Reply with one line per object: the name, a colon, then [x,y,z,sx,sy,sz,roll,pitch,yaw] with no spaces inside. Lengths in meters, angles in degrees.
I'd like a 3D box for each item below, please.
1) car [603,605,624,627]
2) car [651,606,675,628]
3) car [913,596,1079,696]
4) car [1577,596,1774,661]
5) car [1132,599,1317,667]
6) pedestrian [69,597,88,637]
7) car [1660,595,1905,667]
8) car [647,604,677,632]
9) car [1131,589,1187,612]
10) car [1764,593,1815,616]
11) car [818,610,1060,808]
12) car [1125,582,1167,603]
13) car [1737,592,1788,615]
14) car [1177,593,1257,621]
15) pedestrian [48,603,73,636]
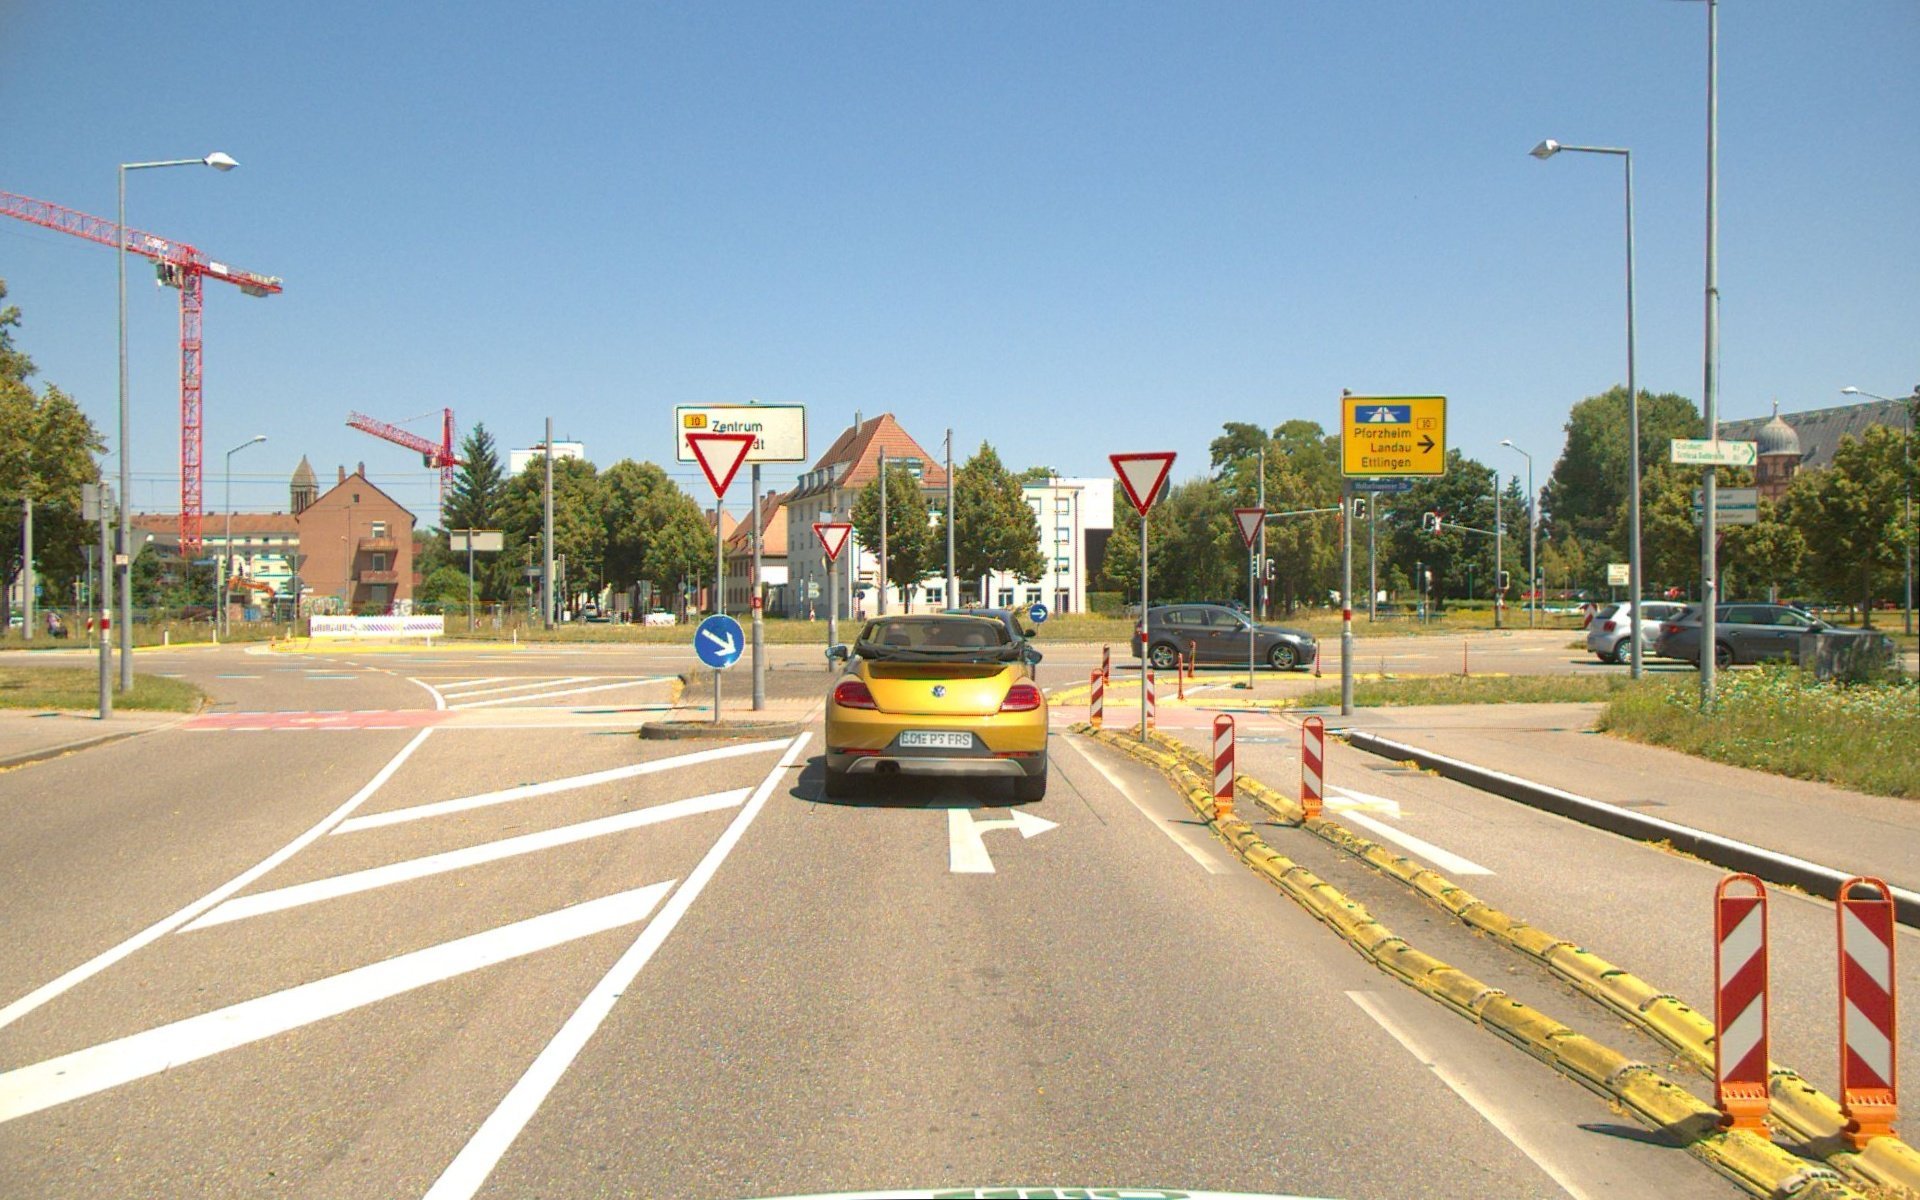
car: [-34.249,1.578,163.390,1.959,2.049,3.986,1,-1,-13]
car: [-27.374,1.564,152.229,1.959,2.049,3.986,1,-1,-13]
car: [0.677,0.689,27.154,1.759,1.465,4.003,0,1,16]
car: [16.746,0.665,38.877,3.902,1.447,1.783,-1,0,8]
car: [5.893,0.722,36.842,3.980,1.427,1.755,-1,1,10]
pedestrian: [-44.606,0.863,83.690,0.589,2.049,0.594,1,-1,-1]
car: [17.299,0.646,35.024,4.347,1.443,2.001,-1,0,17]
car: [-22.198,1.322,123.246,1.959,2.049,3.986,1,-1,-13]
car: [15.620,0.071,129.590,3.918,1.713,1.993,1,-1,-13]
car: [77.323,0.425,154.133,3.923,2.049,1.991,0,-1,38]
car: [-0.179,0.823,14.121,1.788,1.427,3.661,1,0,-1]
car: [18.752,-0.771,166.544,3.902,2.049,2.001,1,-1,14]
car: [74.245,0.359,153.052,3.923,2.049,1.991,0,-1,38]
car: [13.945,0.380,89.710,3.909,1.490,1.998,1,-1,26]
pedestrian: [-45.390,0.985,83.464,0.762,1.668,0.761,1,-1,12]
